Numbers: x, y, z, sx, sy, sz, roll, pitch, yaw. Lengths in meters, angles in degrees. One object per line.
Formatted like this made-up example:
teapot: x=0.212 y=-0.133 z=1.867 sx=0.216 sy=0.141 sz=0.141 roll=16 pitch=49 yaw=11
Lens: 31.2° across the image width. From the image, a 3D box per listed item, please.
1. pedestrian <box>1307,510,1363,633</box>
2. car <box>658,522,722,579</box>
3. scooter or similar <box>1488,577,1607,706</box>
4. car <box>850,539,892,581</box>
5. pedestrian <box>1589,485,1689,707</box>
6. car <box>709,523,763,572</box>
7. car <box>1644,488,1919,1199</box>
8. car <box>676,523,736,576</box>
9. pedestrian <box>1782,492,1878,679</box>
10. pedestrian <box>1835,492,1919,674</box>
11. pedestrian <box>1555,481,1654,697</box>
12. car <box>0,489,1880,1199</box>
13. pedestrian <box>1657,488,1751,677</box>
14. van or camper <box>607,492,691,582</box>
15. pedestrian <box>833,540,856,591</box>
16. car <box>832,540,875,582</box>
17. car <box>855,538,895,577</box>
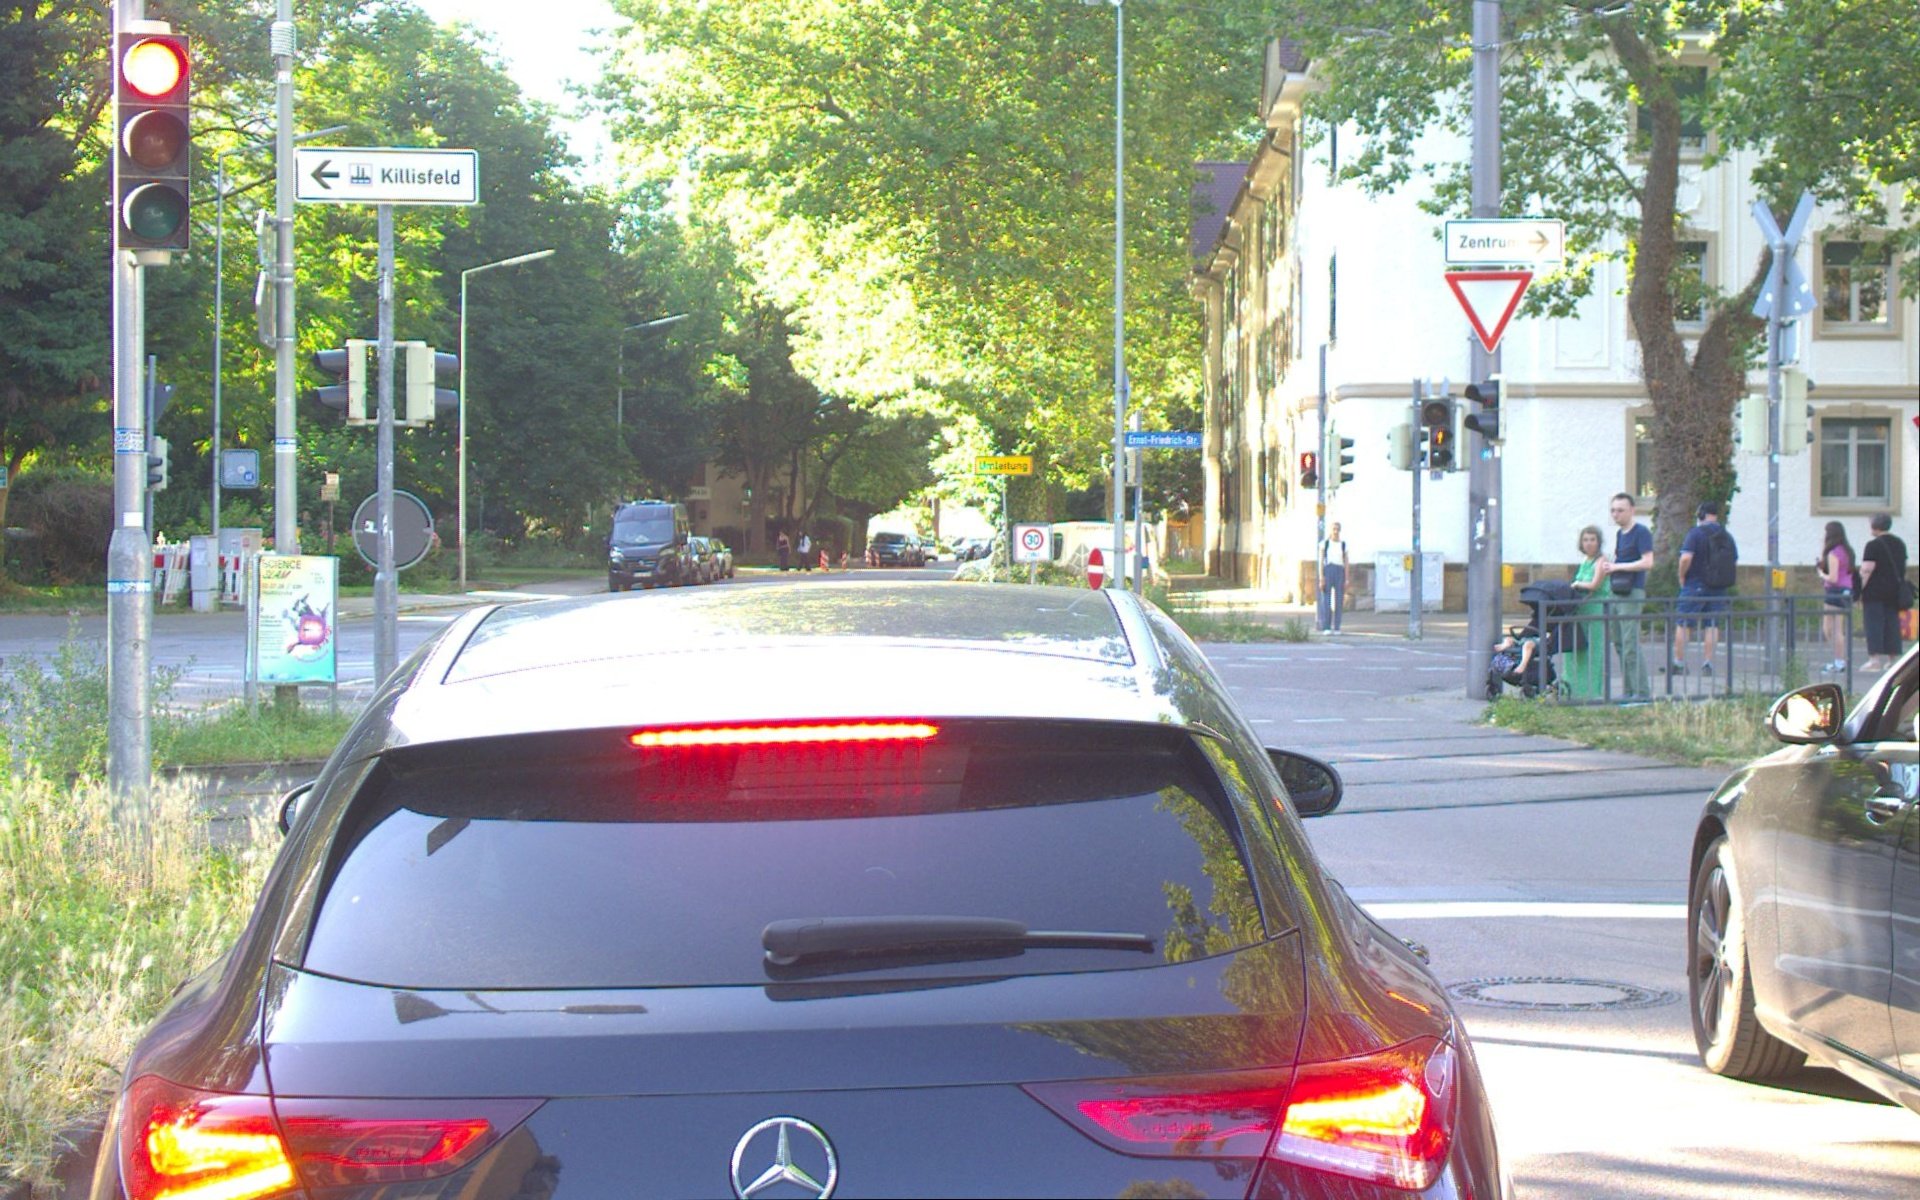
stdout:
pedestrian: x=5.894 y=-0.442 z=54.055 sx=0.705 sy=1.911 sz=0.839 roll=1 pitch=0 yaw=-4
car: x=-8.531 y=-1.559 z=108.946 sx=1.733 sy=1.759 sz=4.342 roll=1 pitch=1 yaw=-1
scooter or similar: x=5.136 y=0.359 z=30.105 sx=0.828 sy=1.101 sz=0.809 roll=1 pitch=0 yaw=-6
car: x=-3.885 y=-1.745 z=150.376 sx=1.733 sy=1.759 sz=4.019 roll=1 pitch=1 yaw=-1
pedestrian: x=5.941 y=-0.036 z=30.112 sx=0.682 sy=1.911 sz=0.707 roll=1 pitch=0 yaw=-2
car: x=-8.228 y=-1.929 z=126.393 sx=1.733 sy=1.759 sz=3.971 roll=1 pitch=1 yaw=-1
car: x=2.835 y=0.564 z=7.266 sx=1.889 sy=1.485 sz=4.382 roll=1 pitch=3 yaw=0
car: x=-8.610 y=-1.709 z=116.817 sx=1.733 sy=1.759 sz=4.085 roll=1 pitch=1 yaw=-1
pedestrian: x=9.021 y=-0.152 z=35.663 sx=0.705 sy=1.911 sz=0.839 roll=1 pitch=0 yaw=-4
pedestrian: x=9.832 y=-0.181 z=36.663 sx=0.705 sy=1.911 sz=0.839 roll=1 pitch=0 yaw=-4
pedestrian: x=5.783 y=-0.098 z=30.884 sx=0.682 sy=1.911 sz=0.707 roll=1 pitch=0 yaw=-4
car: x=-0.032 y=0.605 z=5.395 sx=1.889 sy=1.445 sz=4.001 roll=1 pitch=3 yaw=1
pedestrian: x=7.631 y=-0.179 z=35.278 sx=0.705 sy=1.911 sz=0.839 roll=1 pitch=0 yaw=-4
van or camper: x=-8.998 y=-1.805 z=99.730 sx=1.993 sy=2.532 sz=4.651 roll=1 pitch=1 yaw=0
pedestrian: x=-4.372 y=-1.323 z=130.019 sx=0.705 sy=1.911 sz=0.839 roll=1 pitch=0 yaw=-10
car: x=-4.488 y=-1.645 z=145.556 sx=1.733 sy=1.759 sz=4.019 roll=1 pitch=1 yaw=-1
car: x=-3.907 y=-1.967 z=158.458 sx=1.733 sy=1.759 sz=4.019 roll=1 pitch=1 yaw=-1
